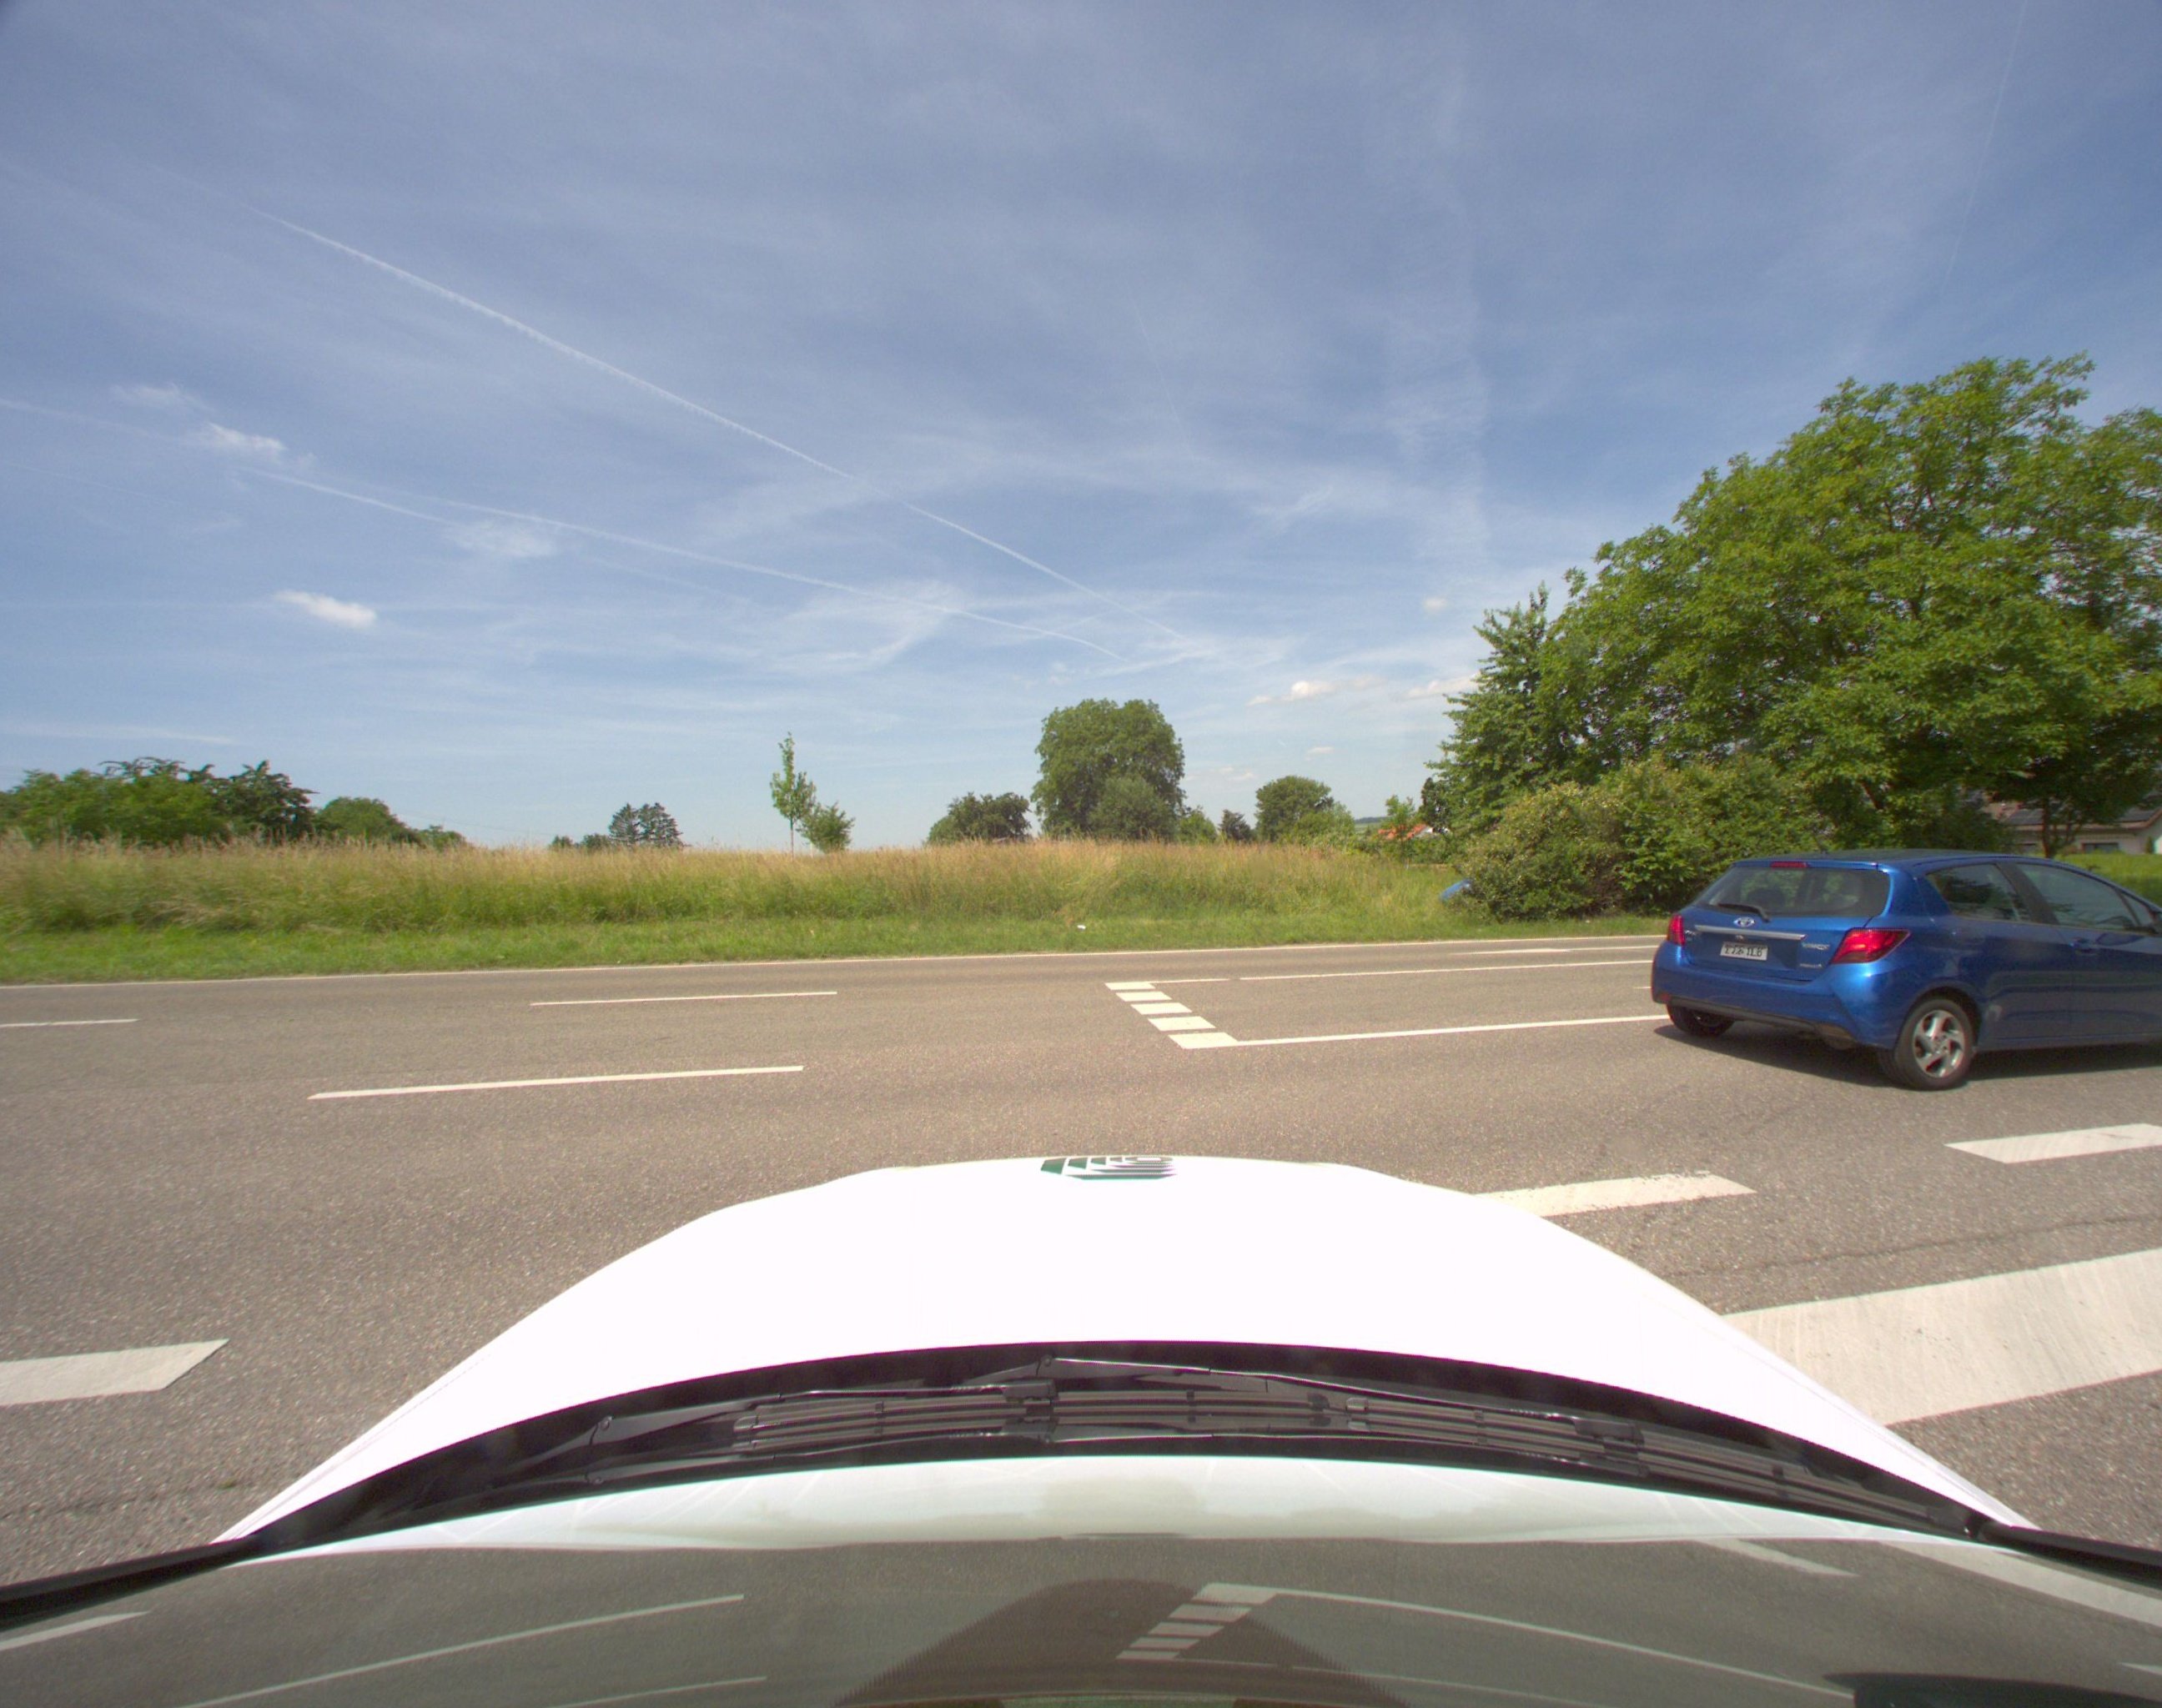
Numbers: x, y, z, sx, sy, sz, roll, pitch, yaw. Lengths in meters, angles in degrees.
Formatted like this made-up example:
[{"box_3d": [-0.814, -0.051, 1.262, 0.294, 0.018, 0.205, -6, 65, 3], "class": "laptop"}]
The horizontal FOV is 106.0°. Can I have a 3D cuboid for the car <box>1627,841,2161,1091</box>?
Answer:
[{"box_3d": [6.394, 0.661, 6.128, 3.839, 1.492, 1.607, -1, 1, -12], "class": "car"}]
